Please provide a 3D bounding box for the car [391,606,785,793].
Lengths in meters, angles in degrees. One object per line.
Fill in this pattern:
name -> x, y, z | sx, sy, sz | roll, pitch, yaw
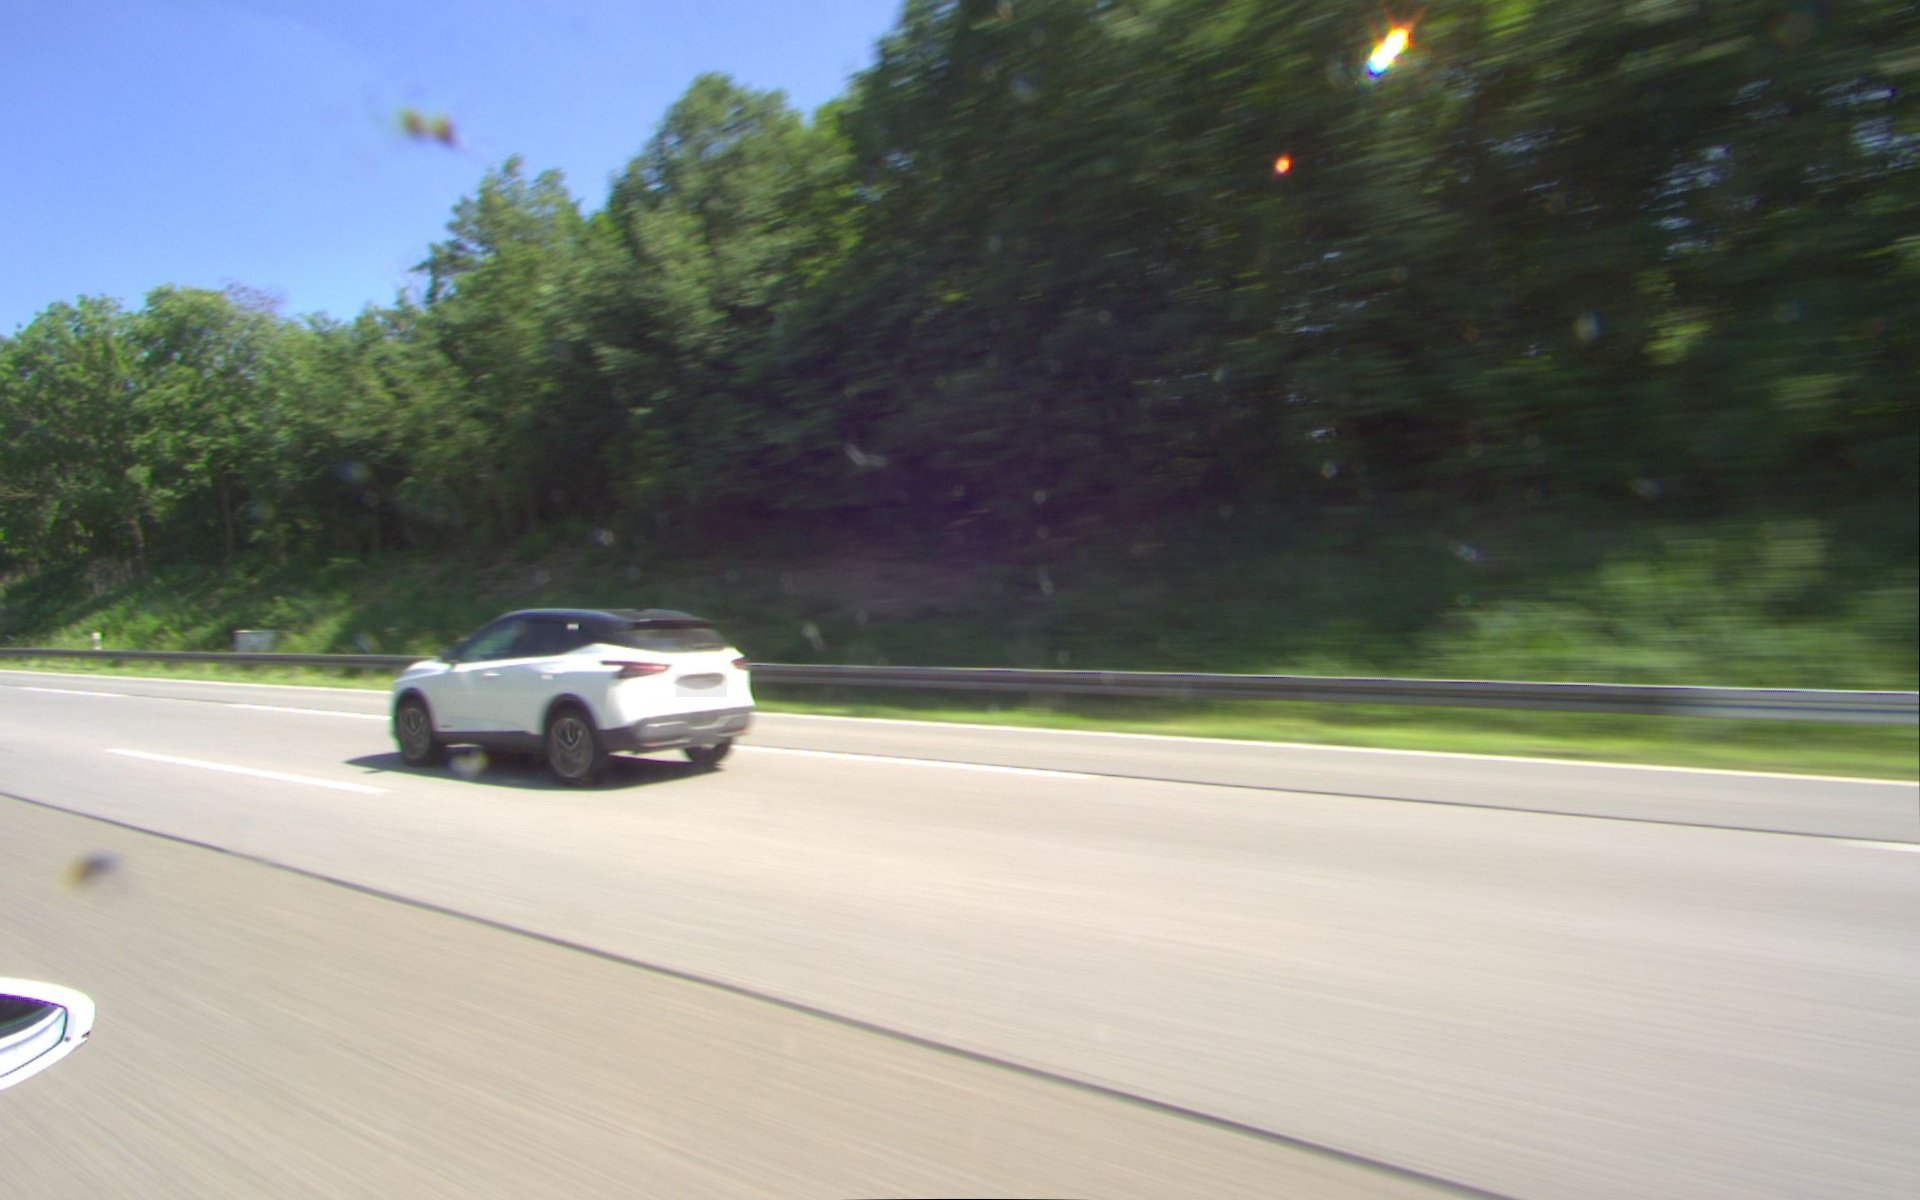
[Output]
car -> -3.913, 0.885, 10.373 | 3.978, 1.588, 1.839 | -1, -1, 33
